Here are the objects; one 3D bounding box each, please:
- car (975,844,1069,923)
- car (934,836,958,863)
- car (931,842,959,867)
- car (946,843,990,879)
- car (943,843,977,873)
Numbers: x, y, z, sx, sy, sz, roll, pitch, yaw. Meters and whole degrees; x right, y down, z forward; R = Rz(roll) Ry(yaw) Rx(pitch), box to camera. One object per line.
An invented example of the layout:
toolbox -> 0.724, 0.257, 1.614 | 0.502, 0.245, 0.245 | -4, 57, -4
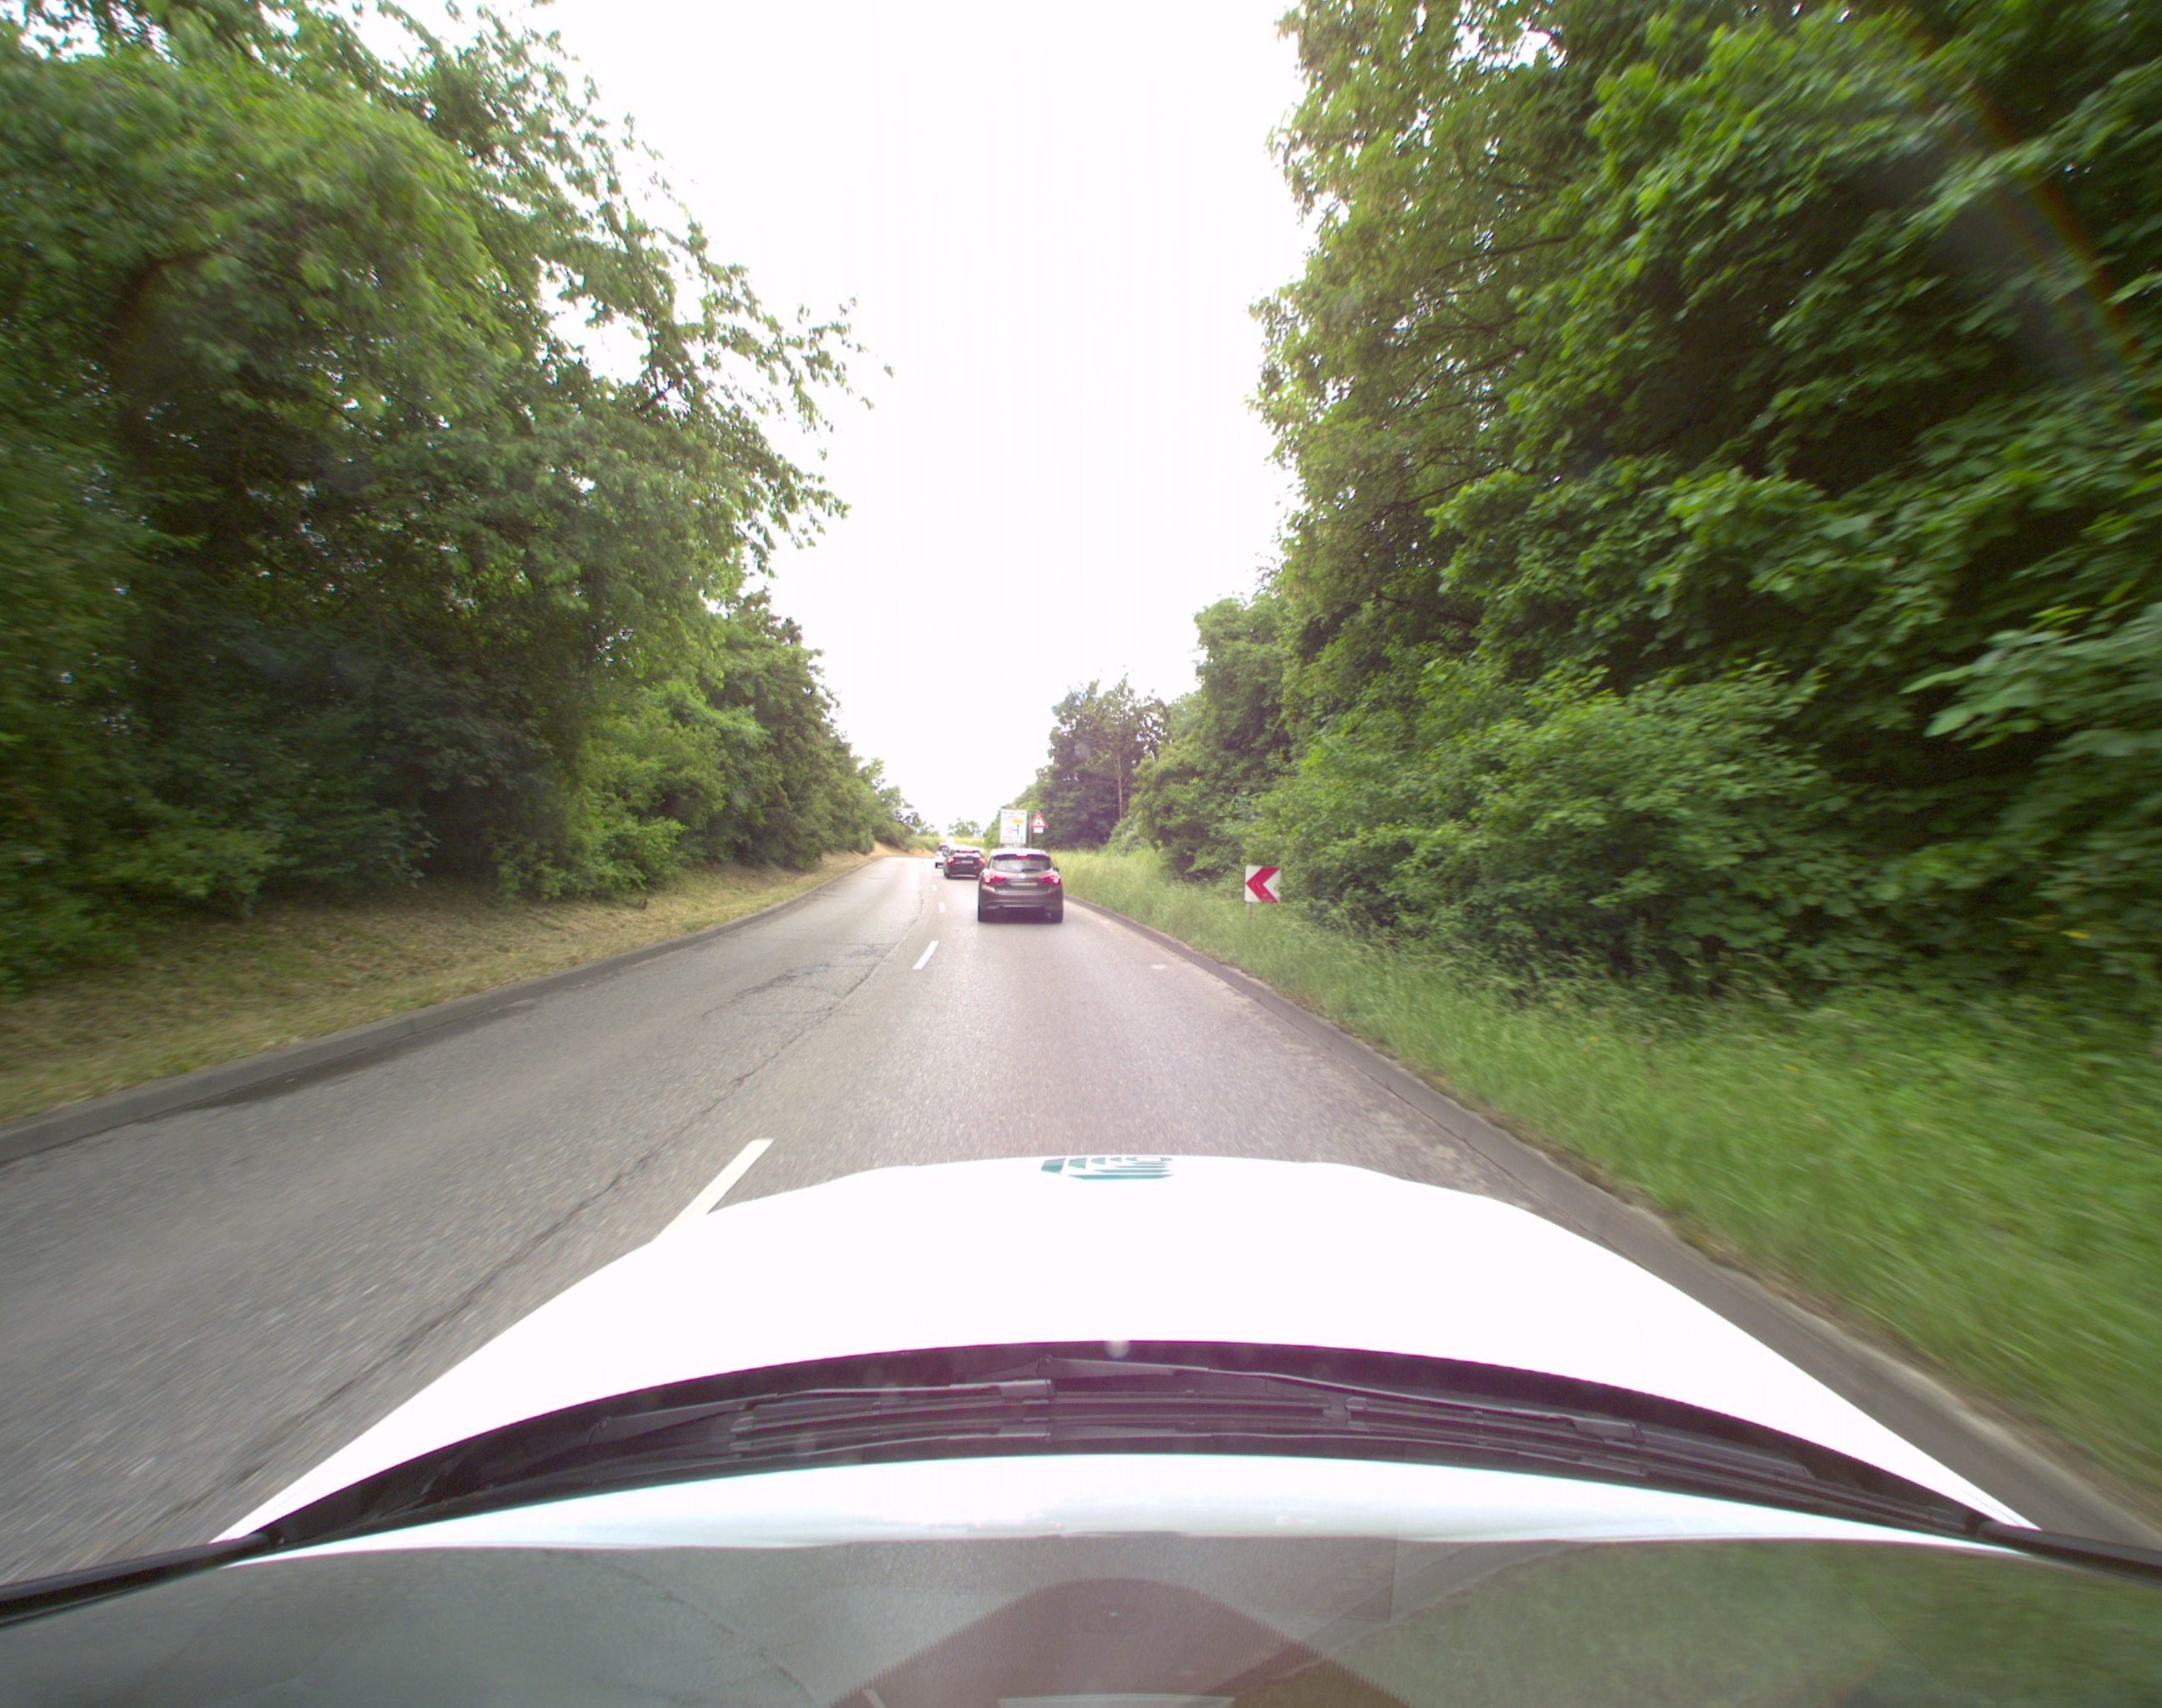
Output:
car -> -1.396, 0.568, 17.941 | 1.829, 1.556, 3.489 | 0, 1, -8
car -> -10.133, -0.343, 60.983 | 1.736, 1.934, 3.530 | 0, 1, -11
car -> -8.955, 0.025, 53.557 | 1.736, 1.556, 3.531 | 0, 1, -11
car -> -5.259, 0.297, 37.628 | 1.831, 1.556, 3.611 | 0, 1, -11
car -> -6.820, 0.193, 45.580 | 1.736, 1.556, 3.531 | 0, 1, -11
